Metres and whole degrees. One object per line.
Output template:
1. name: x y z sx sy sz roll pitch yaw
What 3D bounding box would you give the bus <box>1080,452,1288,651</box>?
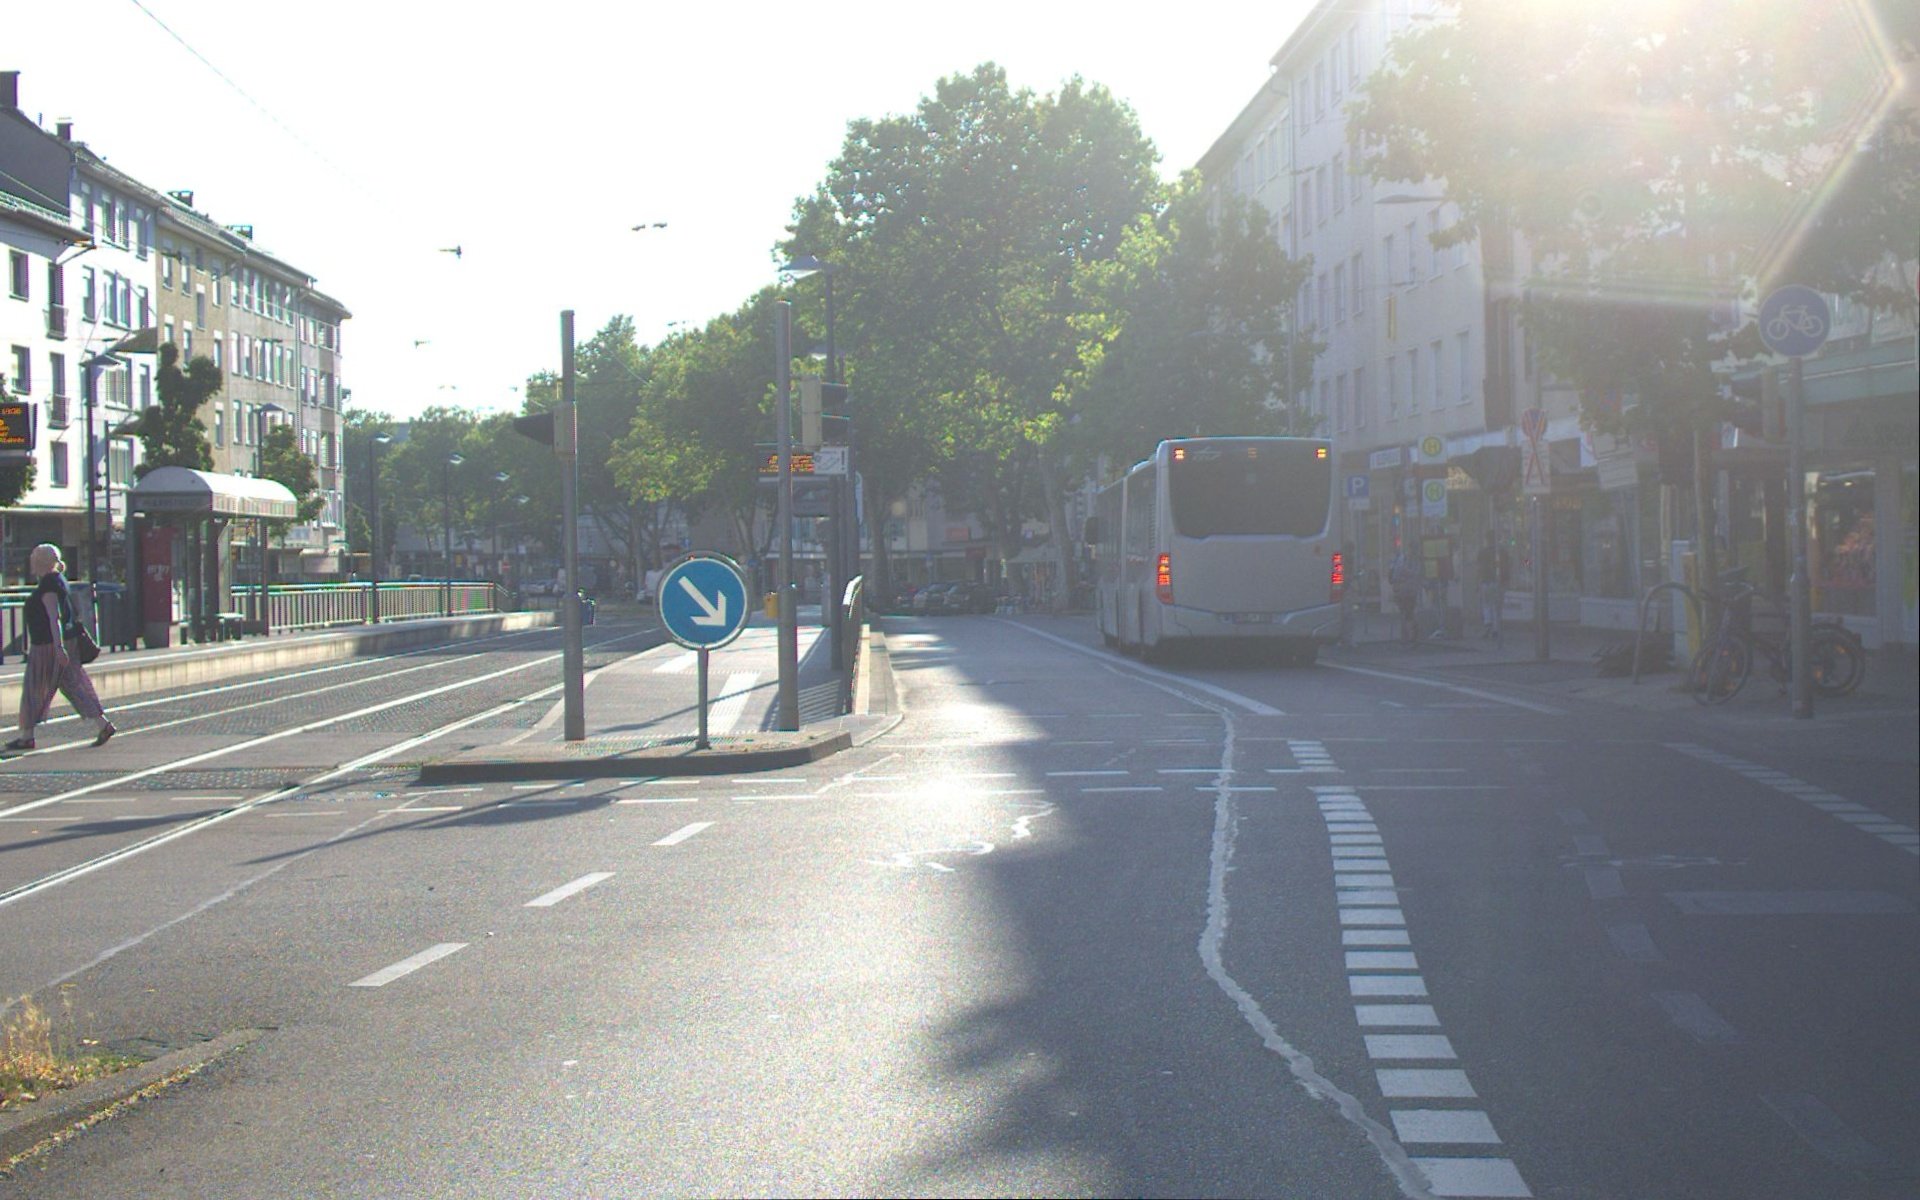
1. bus: 3.700 -0.820 58.906 2.812 3.091 9.095 1 1 -1

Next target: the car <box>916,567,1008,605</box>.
1. car: 0.088 -0.658 161.347 3.889 1.693 1.833 -2 1 -29

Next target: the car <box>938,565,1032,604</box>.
1. car: 1.155 -0.724 158.772 3.889 1.693 1.833 -2 1 -29

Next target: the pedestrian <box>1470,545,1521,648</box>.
1. pedestrian: 8.522 -0.057 54.692 0.676 1.622 0.655 1 1 0

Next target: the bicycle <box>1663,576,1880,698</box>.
1. bicycle: 7.382 0.331 31.324 1.772 1.018 0.694 -2 1 -1

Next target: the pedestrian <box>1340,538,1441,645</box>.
1. pedestrian: 6.815 -0.146 54.467 1.148 1.654 1.186 -1 1 -21

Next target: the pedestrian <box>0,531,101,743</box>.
1. pedestrian: -7.714 0.304 29.092 0.680 1.764 0.687 -1 1 0

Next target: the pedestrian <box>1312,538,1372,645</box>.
1. pedestrian: 6.222 -0.139 56.025 0.728 1.697 0.579 -4 2 -41

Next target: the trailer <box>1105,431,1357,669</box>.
1. trailer: 3.784 -0.721 49.991 2.812 3.100 8.795 1 1 -1

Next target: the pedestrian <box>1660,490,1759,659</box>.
1. pedestrian: 9.006 -0.321 41.333 0.953 2.006 0.917 0 2 -2

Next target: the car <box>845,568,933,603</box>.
1. car: -3.455 -0.699 166.469 3.889 1.591 1.691 -2 1 -29
